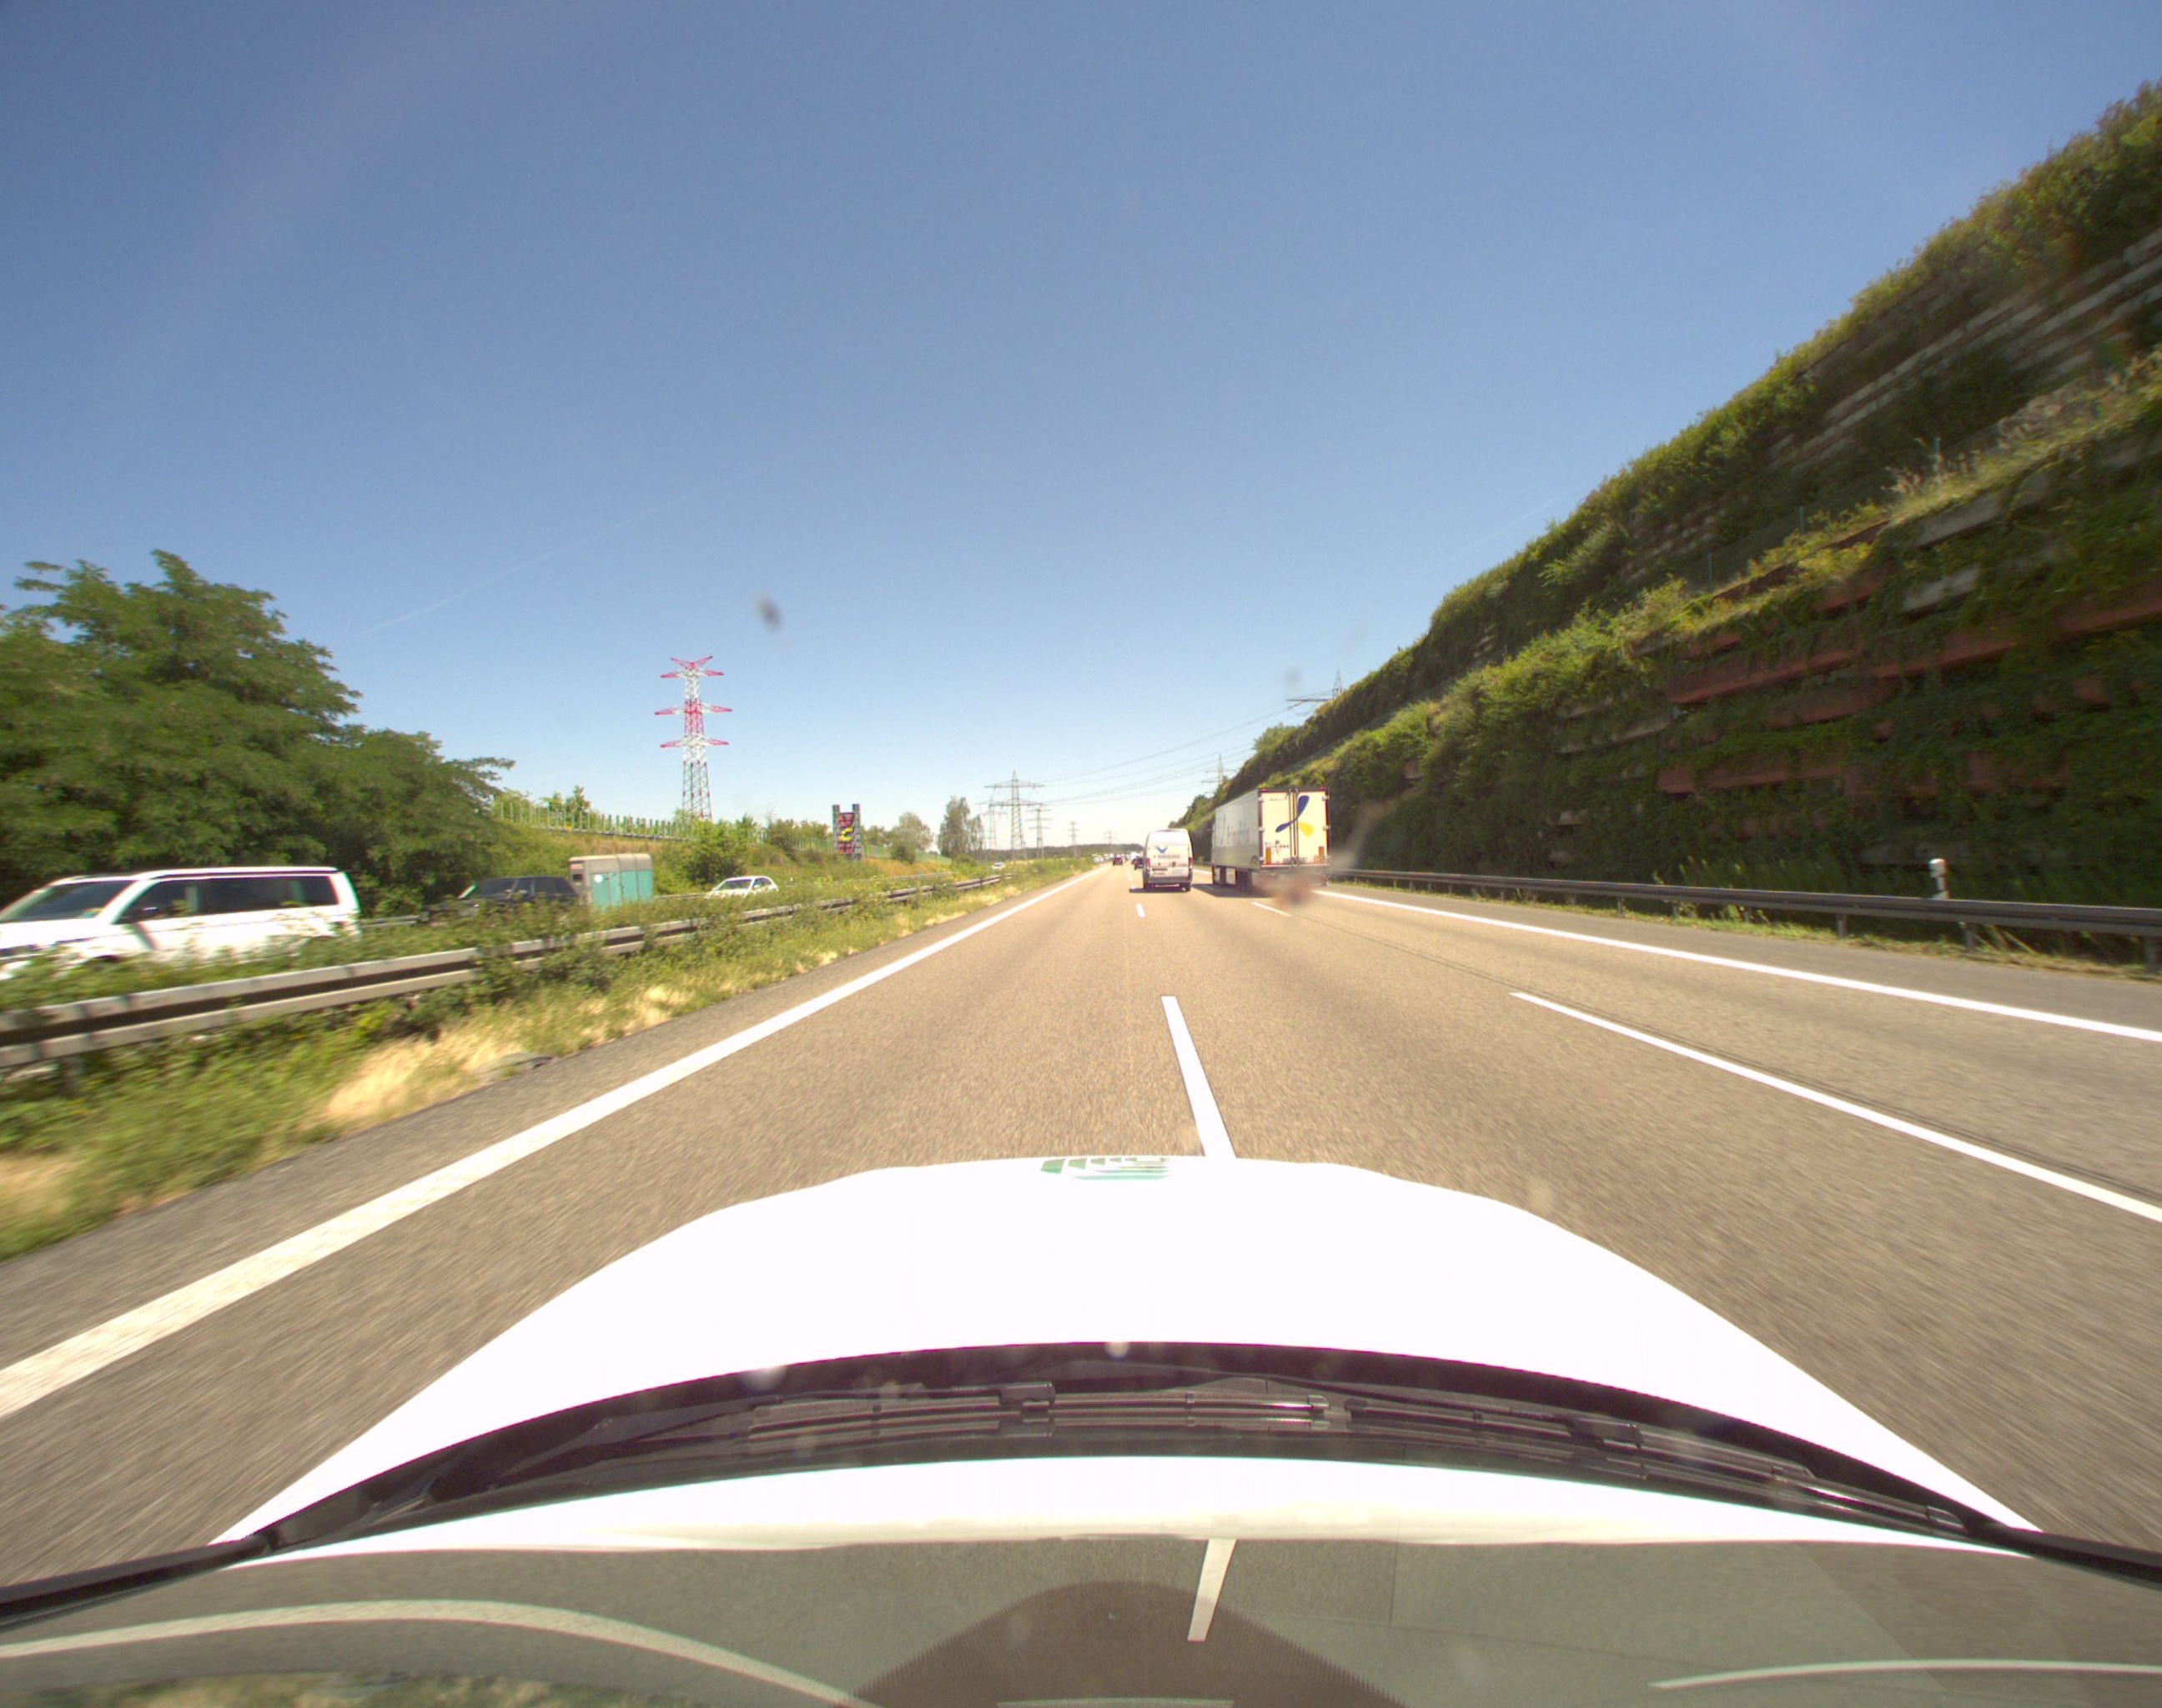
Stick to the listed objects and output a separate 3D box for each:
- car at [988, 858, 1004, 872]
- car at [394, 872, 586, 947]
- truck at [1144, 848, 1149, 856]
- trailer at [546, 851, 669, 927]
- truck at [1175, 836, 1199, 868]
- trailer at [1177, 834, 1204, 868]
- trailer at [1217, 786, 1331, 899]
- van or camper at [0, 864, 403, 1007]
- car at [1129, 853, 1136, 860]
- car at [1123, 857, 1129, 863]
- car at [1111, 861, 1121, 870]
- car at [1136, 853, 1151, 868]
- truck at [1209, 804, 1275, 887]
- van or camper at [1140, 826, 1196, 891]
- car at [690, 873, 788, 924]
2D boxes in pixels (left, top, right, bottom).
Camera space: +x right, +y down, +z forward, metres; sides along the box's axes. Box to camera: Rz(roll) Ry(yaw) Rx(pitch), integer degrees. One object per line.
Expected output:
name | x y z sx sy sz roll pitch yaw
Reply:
car | -13.387 1.718 128.290 1.960 2.008 4.405 0 0 2
car | -17.795 1.584 24.909 1.935 1.925 5.028 0 0 4
truck | 20.452 -0.585 254.530 1.789 2.478 4.618 0 0 4
trailer | -17.560 1.214 30.482 1.792 2.618 4.412 0 0 4
truck | 13.423 -0.213 103.415 2.627 3.897 5.909 0 0 3
trailer | 13.192 -0.336 98.561 2.627 3.897 7.073 0 0 3
trailer | 7.960 -0.411 35.352 2.626 4.060 12.375 0 0 3
van or camper | -14.249 1.085 13.159 1.957 1.766 5.218 0 0 4
car | 12.560 0.663 199.585 1.777 1.717 3.711 0 0 4
car | 13.138 1.787 236.005 1.691 1.661 3.711 0 0 4
car | 7.030 2.268 163.398 1.974 1.817 3.816 0 0 4
car | 7.917 0.823 103.974 1.788 1.817 3.802 0 0 2
truck | 8.353 -0.397 42.827 2.627 4.060 5.804 0 0 3
van or camper | 3.919 0.184 37.609 2.222 2.782 5.425 0 0 2
car | -13.414 1.709 32.276 1.774 1.766 4.365 0 0 4
